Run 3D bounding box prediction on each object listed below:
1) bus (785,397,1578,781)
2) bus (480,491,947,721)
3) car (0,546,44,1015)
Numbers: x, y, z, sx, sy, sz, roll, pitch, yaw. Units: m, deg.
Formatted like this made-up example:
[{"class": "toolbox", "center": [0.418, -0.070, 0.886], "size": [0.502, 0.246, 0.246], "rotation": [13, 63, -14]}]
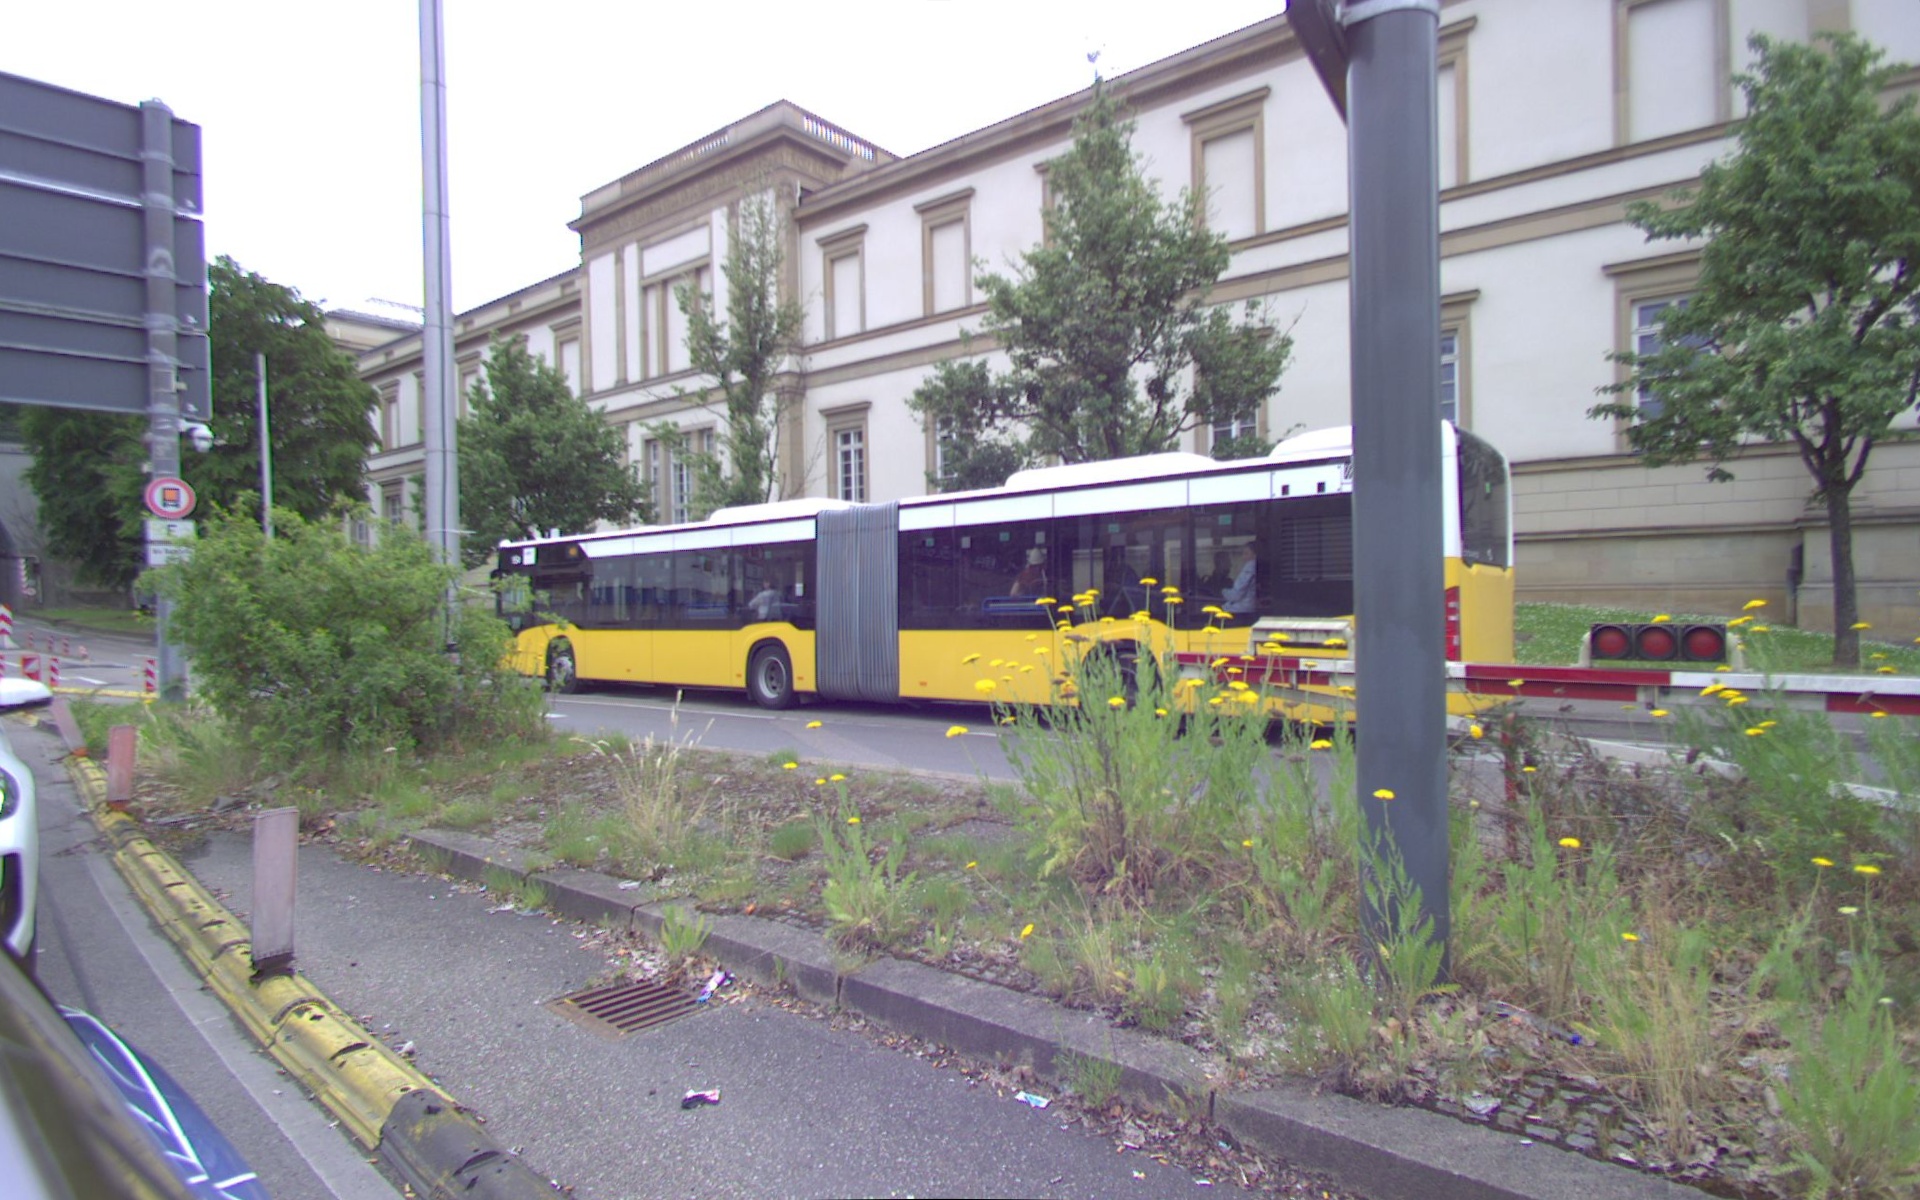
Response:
[{"class": "bus", "center": [1.962, -0.026, 12.286], "size": [9.114, 3.137, 2.817], "rotation": [-1, 0, 40]}, {"class": "bus", "center": [-4.865, 0.150, 18.044], "size": [9.740, 3.137, 2.817], "rotation": [-1, 0, 40]}, {"class": "car", "center": [-5.263, 0.670, 4.171], "size": [3.881, 1.603, 1.824], "rotation": [-2, 0, 42]}]
